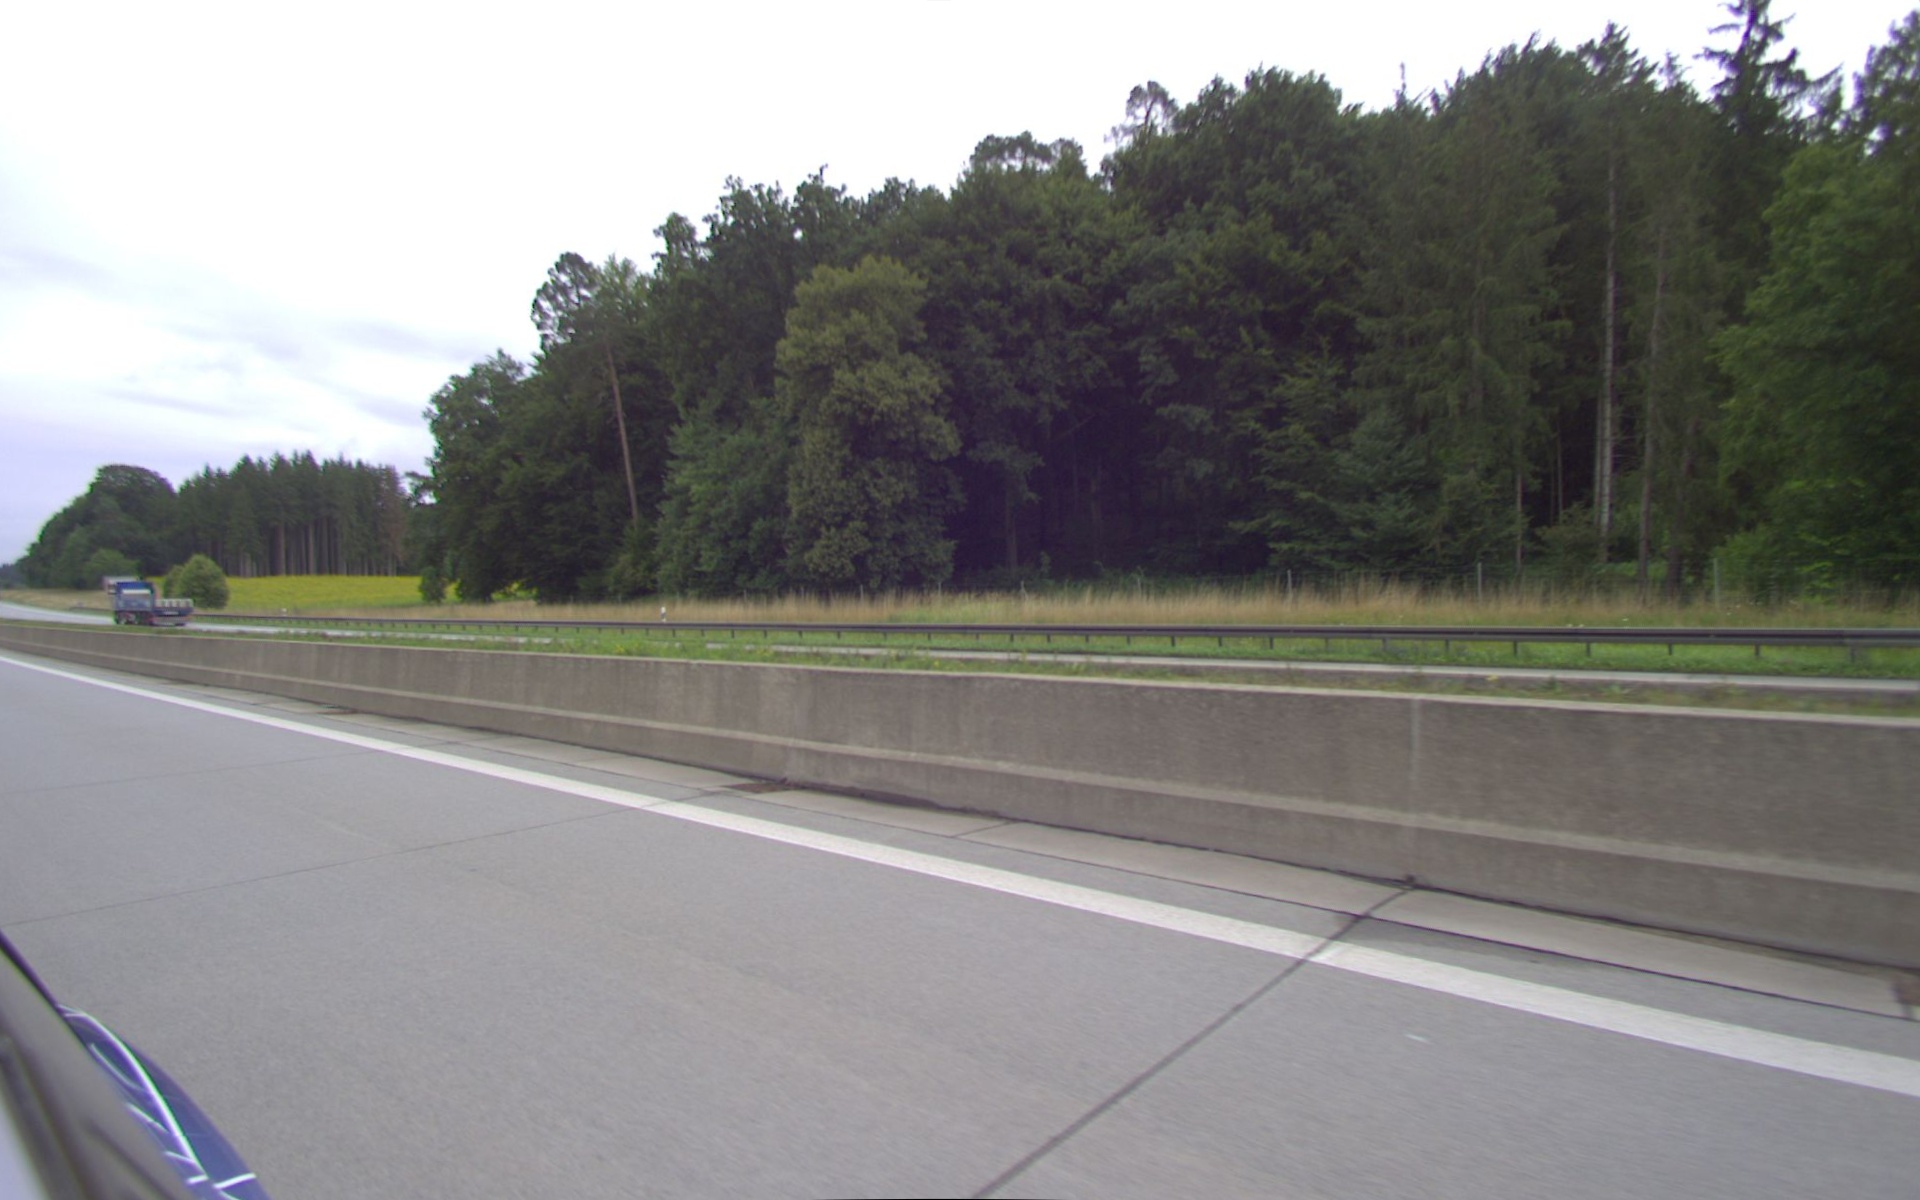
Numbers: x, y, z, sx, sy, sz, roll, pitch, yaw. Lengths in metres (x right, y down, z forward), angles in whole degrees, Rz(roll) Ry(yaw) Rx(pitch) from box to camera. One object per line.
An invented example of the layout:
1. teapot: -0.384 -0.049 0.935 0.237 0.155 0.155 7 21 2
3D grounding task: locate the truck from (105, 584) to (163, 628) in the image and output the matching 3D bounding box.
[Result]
1. truck: -70.144 0.492 85.922 6.637 3.543 2.728 0 1 41

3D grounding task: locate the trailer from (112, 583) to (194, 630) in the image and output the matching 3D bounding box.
1. trailer: -65.204 0.504 81.599 13.879 3.534 2.756 0 1 41
